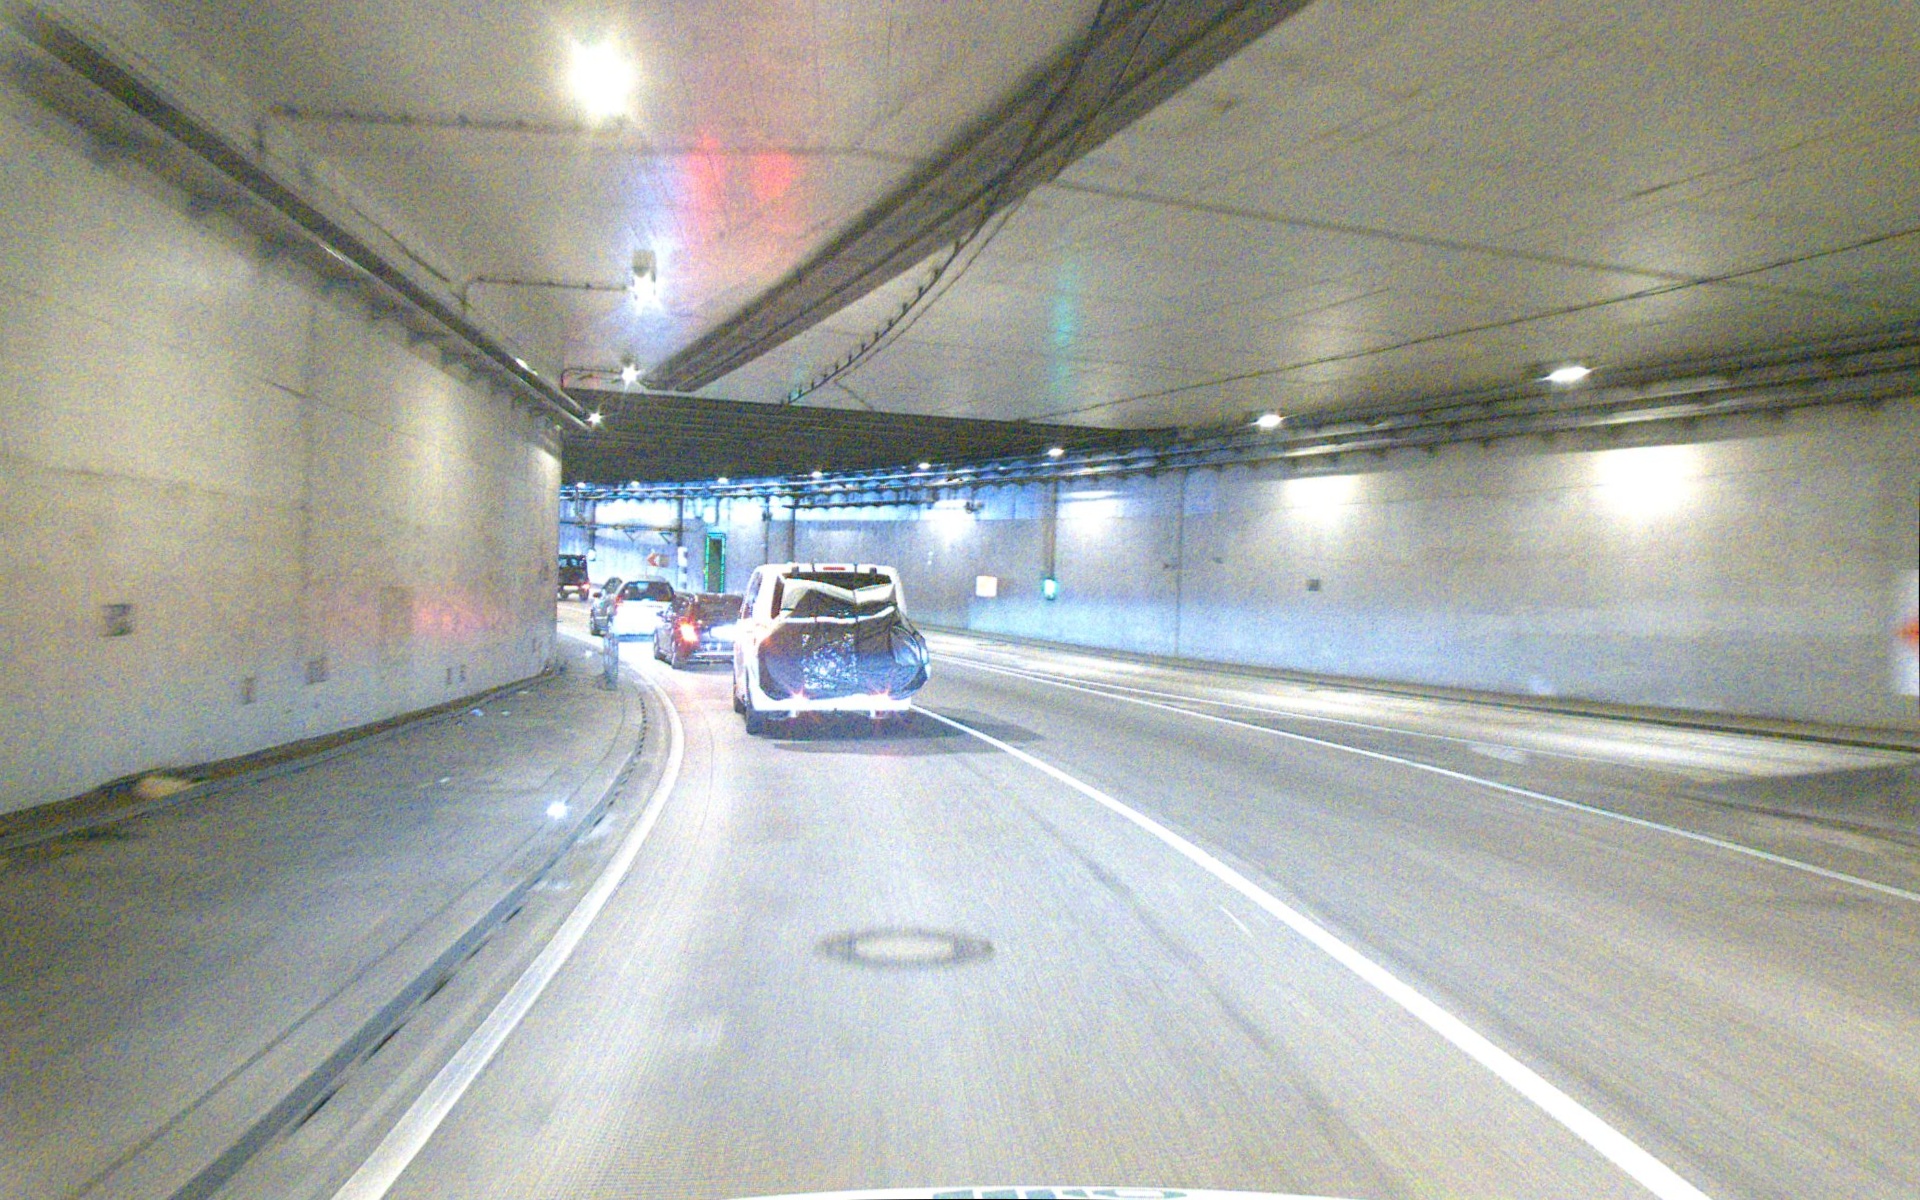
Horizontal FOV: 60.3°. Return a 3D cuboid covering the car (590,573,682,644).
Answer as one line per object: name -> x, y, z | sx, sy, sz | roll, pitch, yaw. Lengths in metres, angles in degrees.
car -> -8.054, 0.195, 40.937 | 1.580, 1.622, 3.333 | 3, -1, -22

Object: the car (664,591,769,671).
car -> -4.735, 0.564, 31.897 | 1.577, 1.420, 3.263 | 1, 1, -16

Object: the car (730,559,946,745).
car -> -1.594, 0.516, 19.494 | 1.958, 1.879, 5.287 | 0, 0, -11

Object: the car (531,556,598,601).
car -> -14.911, -0.806, 62.234 | 1.586, 1.658, 3.322 | 0, 1, -30
